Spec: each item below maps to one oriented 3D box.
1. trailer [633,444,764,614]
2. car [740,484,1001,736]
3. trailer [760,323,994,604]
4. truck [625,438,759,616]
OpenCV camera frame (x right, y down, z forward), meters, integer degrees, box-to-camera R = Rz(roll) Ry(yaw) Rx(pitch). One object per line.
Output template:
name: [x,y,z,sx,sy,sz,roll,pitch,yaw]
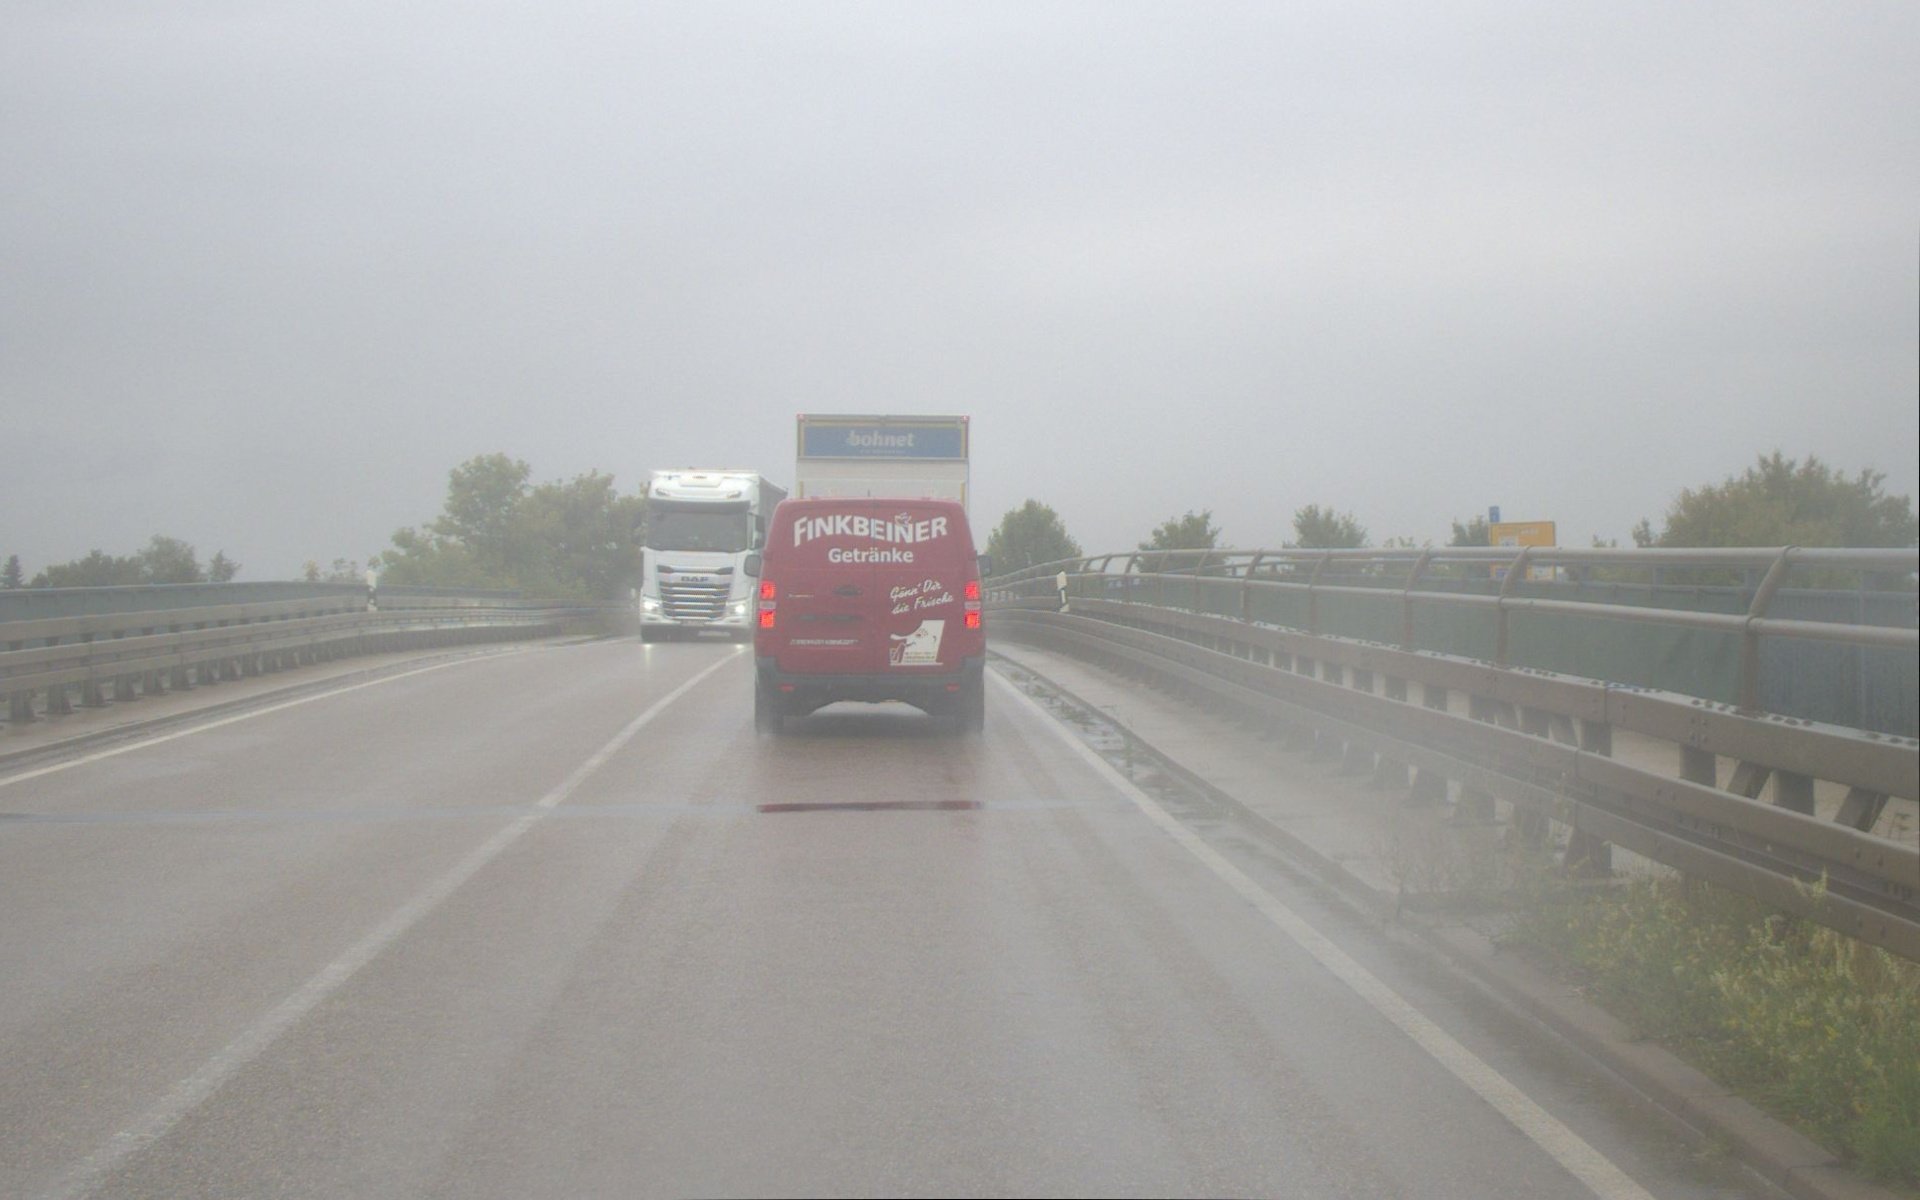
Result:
trailer: [-6.473,-1.737,86.910,2.817,3.956,13.737,0,1,-2]
car: [-0.780,0.027,28.741,1.993,1.919,4.144,1,1,-2]
trailer: [-1.207,-1.991,54.111,3.201,3.908,8.739,3,0,0]
truck: [-6.235,-1.686,81.070,2.817,3.956,8.765,0,1,-2]
